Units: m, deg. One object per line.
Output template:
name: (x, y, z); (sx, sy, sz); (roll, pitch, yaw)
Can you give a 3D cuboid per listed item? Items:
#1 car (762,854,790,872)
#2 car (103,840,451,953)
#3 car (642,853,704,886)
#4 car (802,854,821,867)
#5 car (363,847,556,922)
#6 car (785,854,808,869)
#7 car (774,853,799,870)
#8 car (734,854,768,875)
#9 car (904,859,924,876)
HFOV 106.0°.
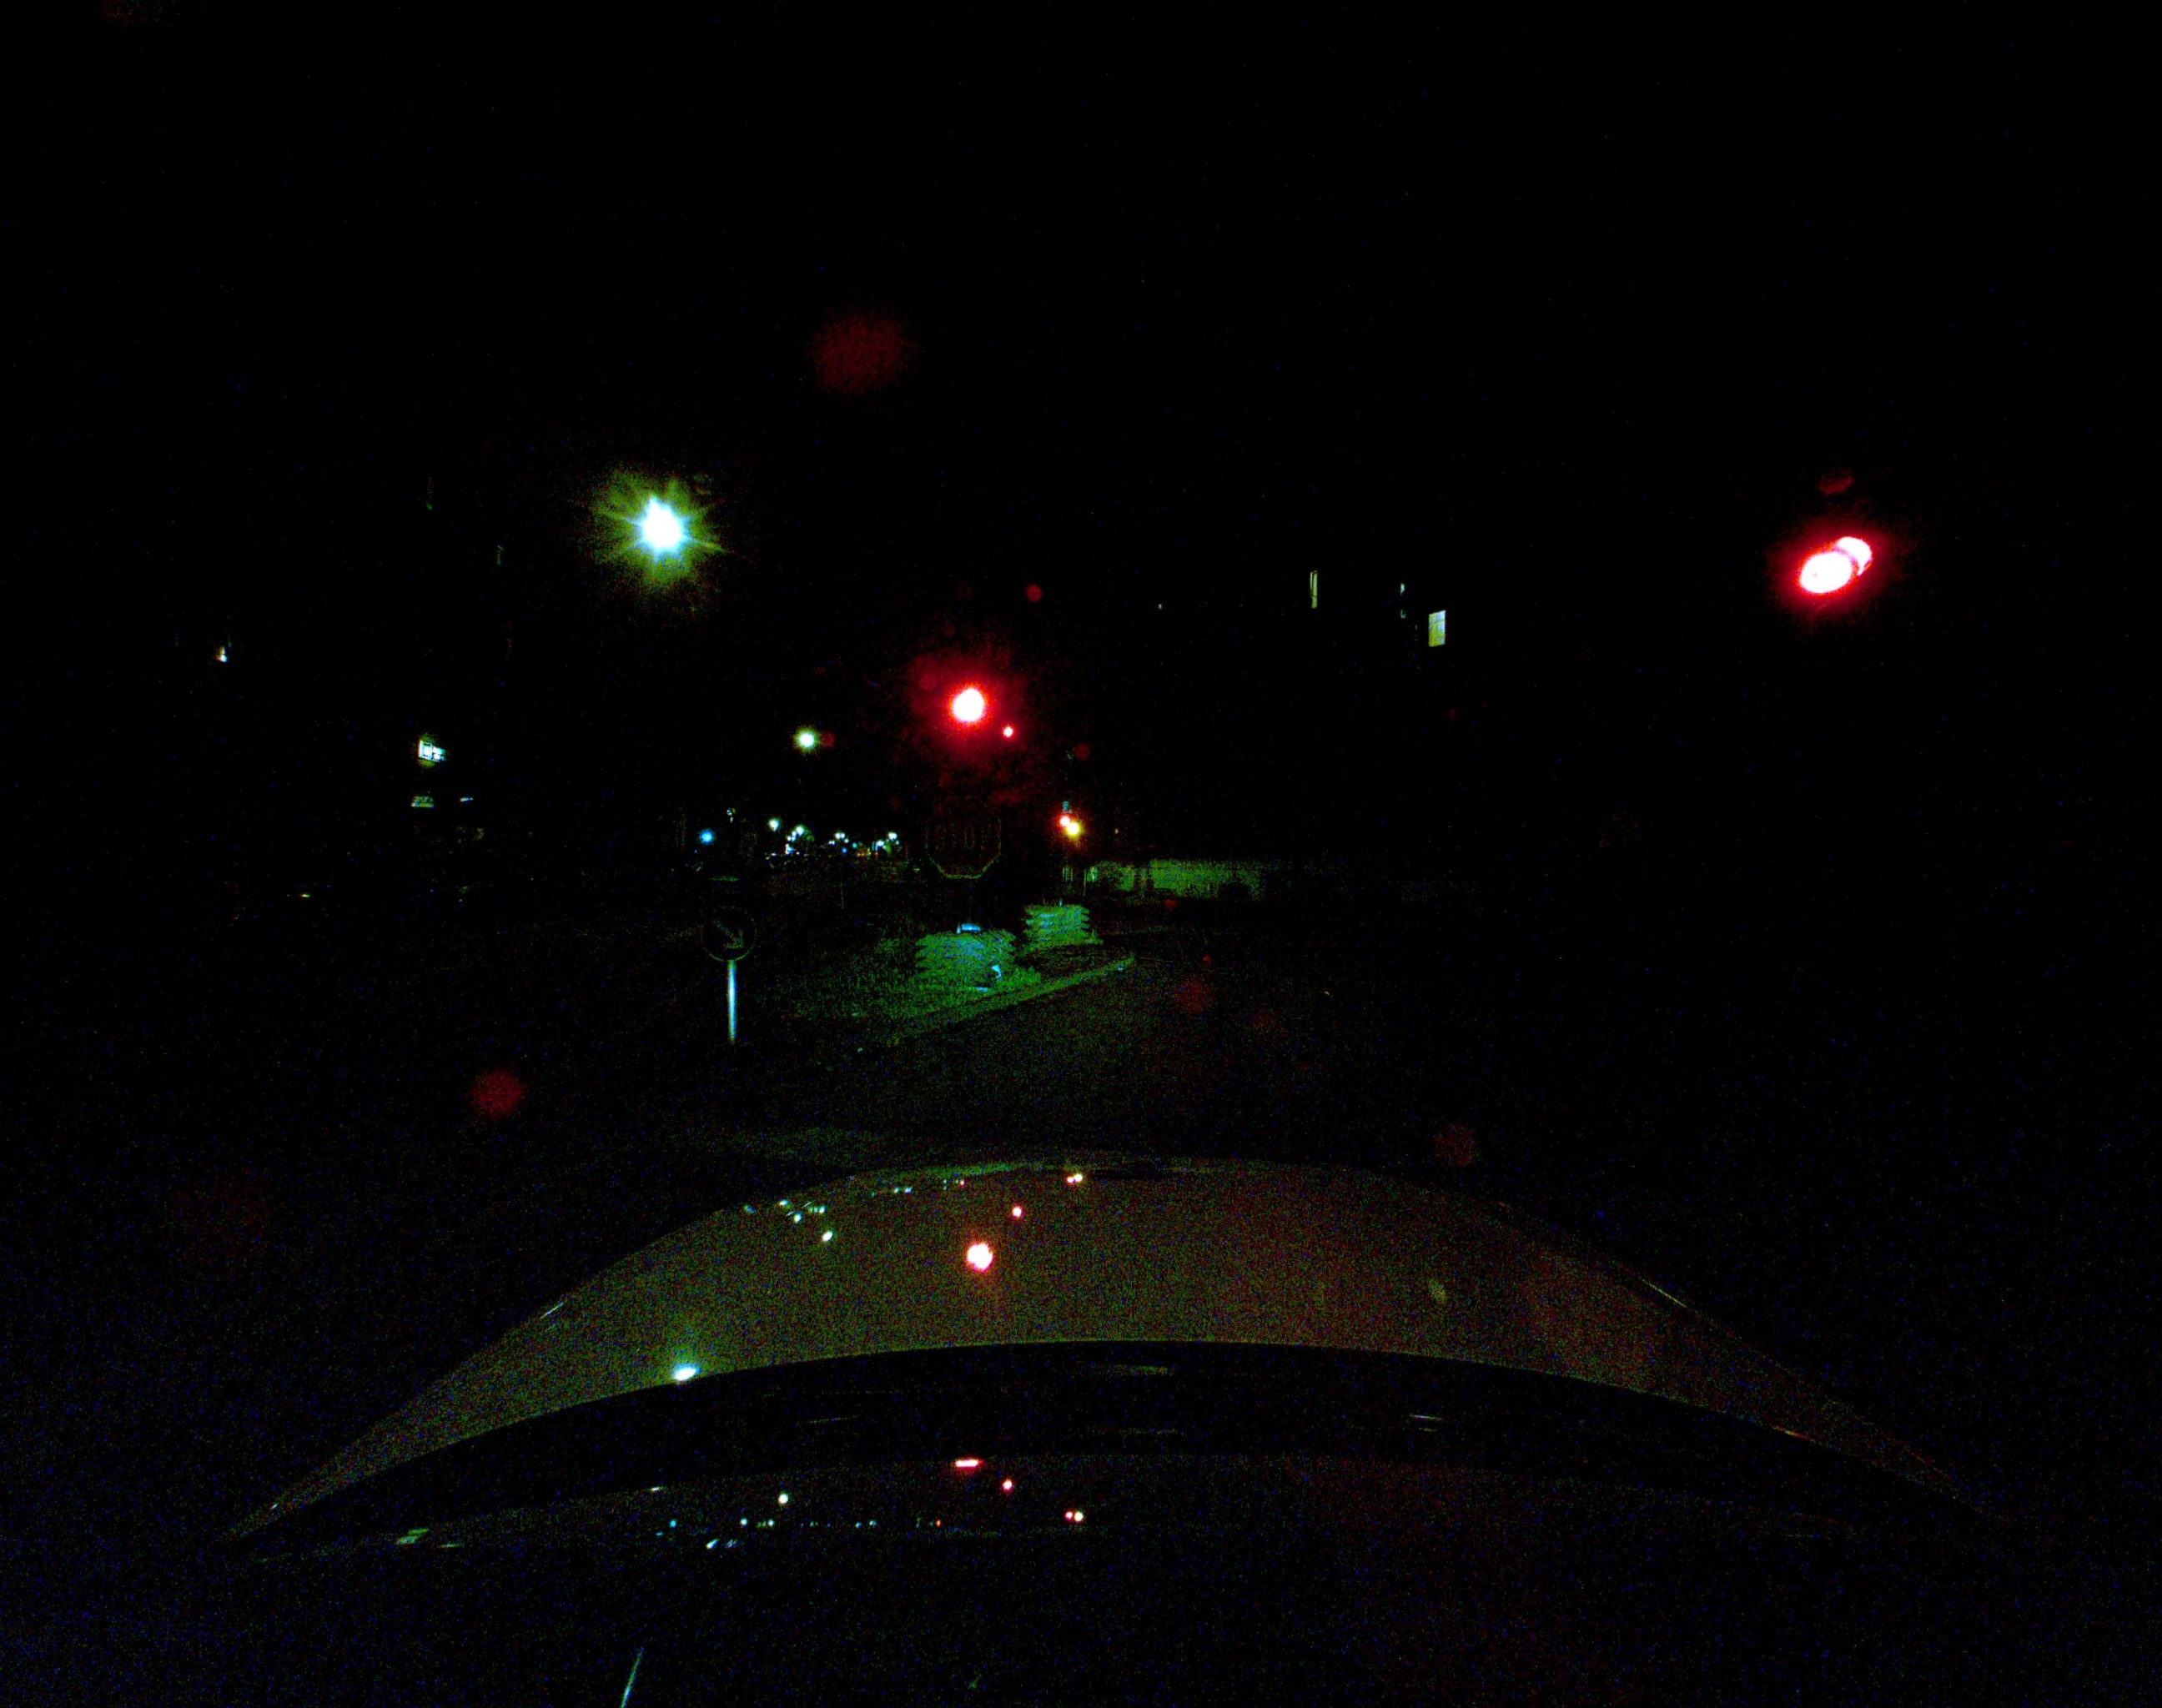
car: (-25.180, 0.753, 67.282); (1.653, 1.431, 3.982); (1, 0, -13)
car: (-12.604, 0.592, 13.293); (1.901, 1.471, 4.432); (3, -1, -13)
car: (-18.941, 0.688, 37.978); (1.653, 1.431, 3.982); (1, 0, -13)
car: (-30.854, 0.756, 93.189); (1.653, 1.431, 3.982); (1, 0, -13)
car: (-13.661, 0.630, 18.260); (1.806, 1.481, 4.302); (1, -1, -14)
car: (-27.890, 0.745, 79.837); (1.653, 1.431, 3.982); (1, 0, -13)
car: (-26.485, 0.679, 73.346); (1.653, 1.431, 3.982); (1, 0, -13)
car: (-23.920, 0.739, 59.190); (1.653, 1.431, 3.982); (1, 0, -13)
car: (-14.863, 1.157, 72.414); (1.652, 1.431, 3.984); (1, 0, -12)
